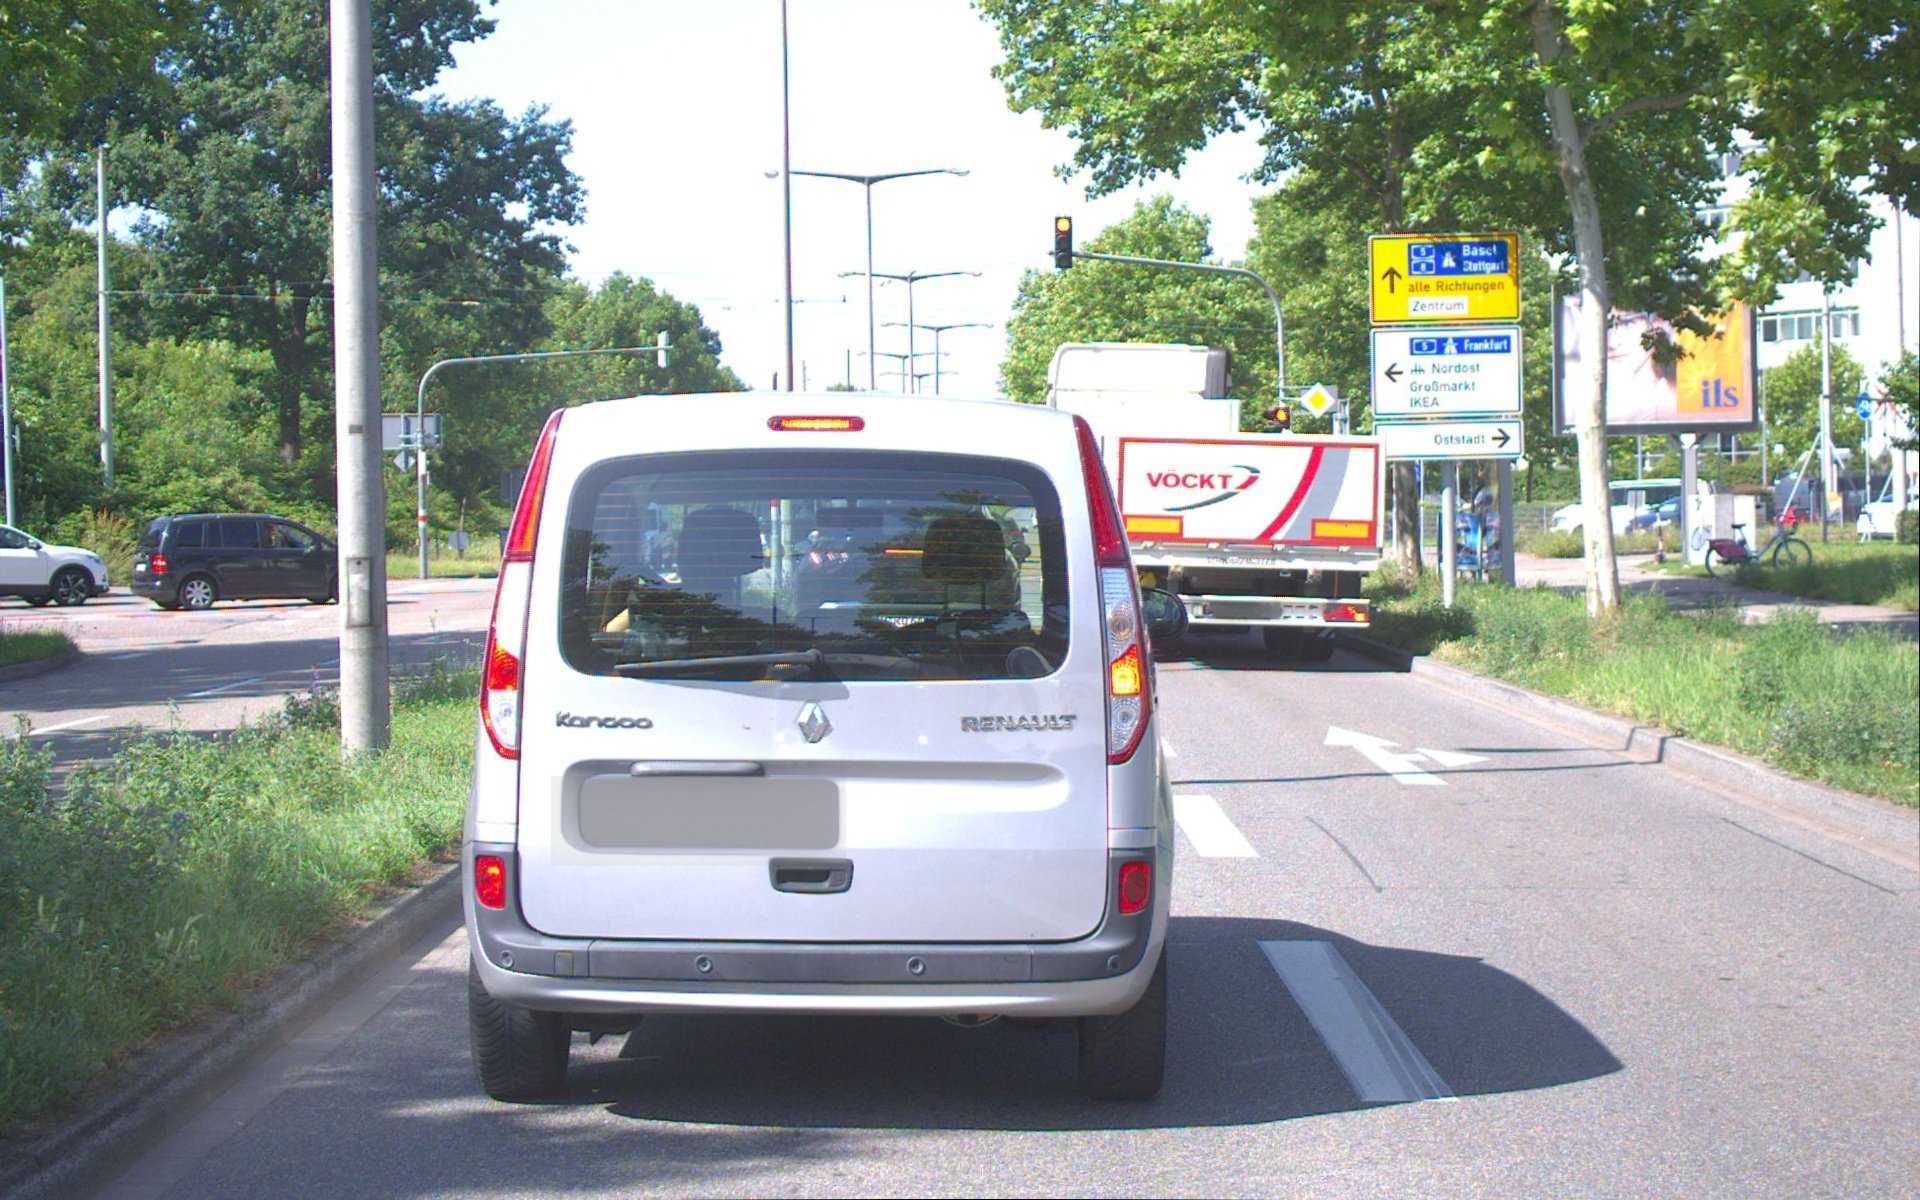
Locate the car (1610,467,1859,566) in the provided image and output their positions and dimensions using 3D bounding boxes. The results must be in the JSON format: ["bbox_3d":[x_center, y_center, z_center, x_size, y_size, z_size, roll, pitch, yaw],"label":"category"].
[{"bbox_3d":[13.396,-1.441,59.633,3.988,1.656,1.723,1,1,5],"label":"car"}]

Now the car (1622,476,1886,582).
[{"bbox_3d":[12.917,-1.160,56.091,3.988,1.656,1.723,1,1,5],"label":"car"}]

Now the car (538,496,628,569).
[{"bbox_3d":[-10.491,-1.888,95.999,1.993,1.884,4.988,-3,1,-1],"label":"car"}]

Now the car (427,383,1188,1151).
[{"bbox_3d":[-0.380,0.347,9.933,1.749,1.766,3.950,0,1,-1],"label":"car"}]

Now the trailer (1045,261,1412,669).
[{"bbox_3d":[2.616,-1.366,37.705,3.016,3.728,12.241,1,1,0],"label":"trailer"}]

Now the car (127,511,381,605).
[{"bbox_3d":[-12.189,-0.729,59.334,3.986,1.568,1.939,0,1,-23],"label":"car"}]

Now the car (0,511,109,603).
[{"bbox_3d":[-17.614,-0.780,61.671,4.102,1.621,2.000,0,1,-37],"label":"car"}]

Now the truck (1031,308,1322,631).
[{"bbox_3d":[2.609,-1.605,44.028,3.071,3.745,7.477,0,1,-1],"label":"truck"}]

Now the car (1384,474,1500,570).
[{"bbox_3d":[9.338,-1.514,66.858,1.816,1.789,3.443,1,1,1],"label":"car"}]

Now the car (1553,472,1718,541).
[{"bbox_3d":[20.317,-2.805,103.532,4.523,2.007,2.000,0,1,-1],"label":"car"}]

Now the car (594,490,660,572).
[{"bbox_3d":[-10.921,-2.264,112.543,2.058,2.605,5.871,0,1,-6],"label":"car"}]

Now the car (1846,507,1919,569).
[{"bbox_3d":[22.877,-1.436,80.122,4.440,1.422,1.731,0,1,-32],"label":"car"}]

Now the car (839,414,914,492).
[{"bbox_3d":[-2.274,-3.954,92.877,1.713,2.007,4.001,0,1,-6],"label":"car"}]

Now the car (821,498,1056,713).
[{"bbox_3d":[-0.246,0.004,28.982,1.809,1.678,4.001,0,1,-3],"label":"car"}]
